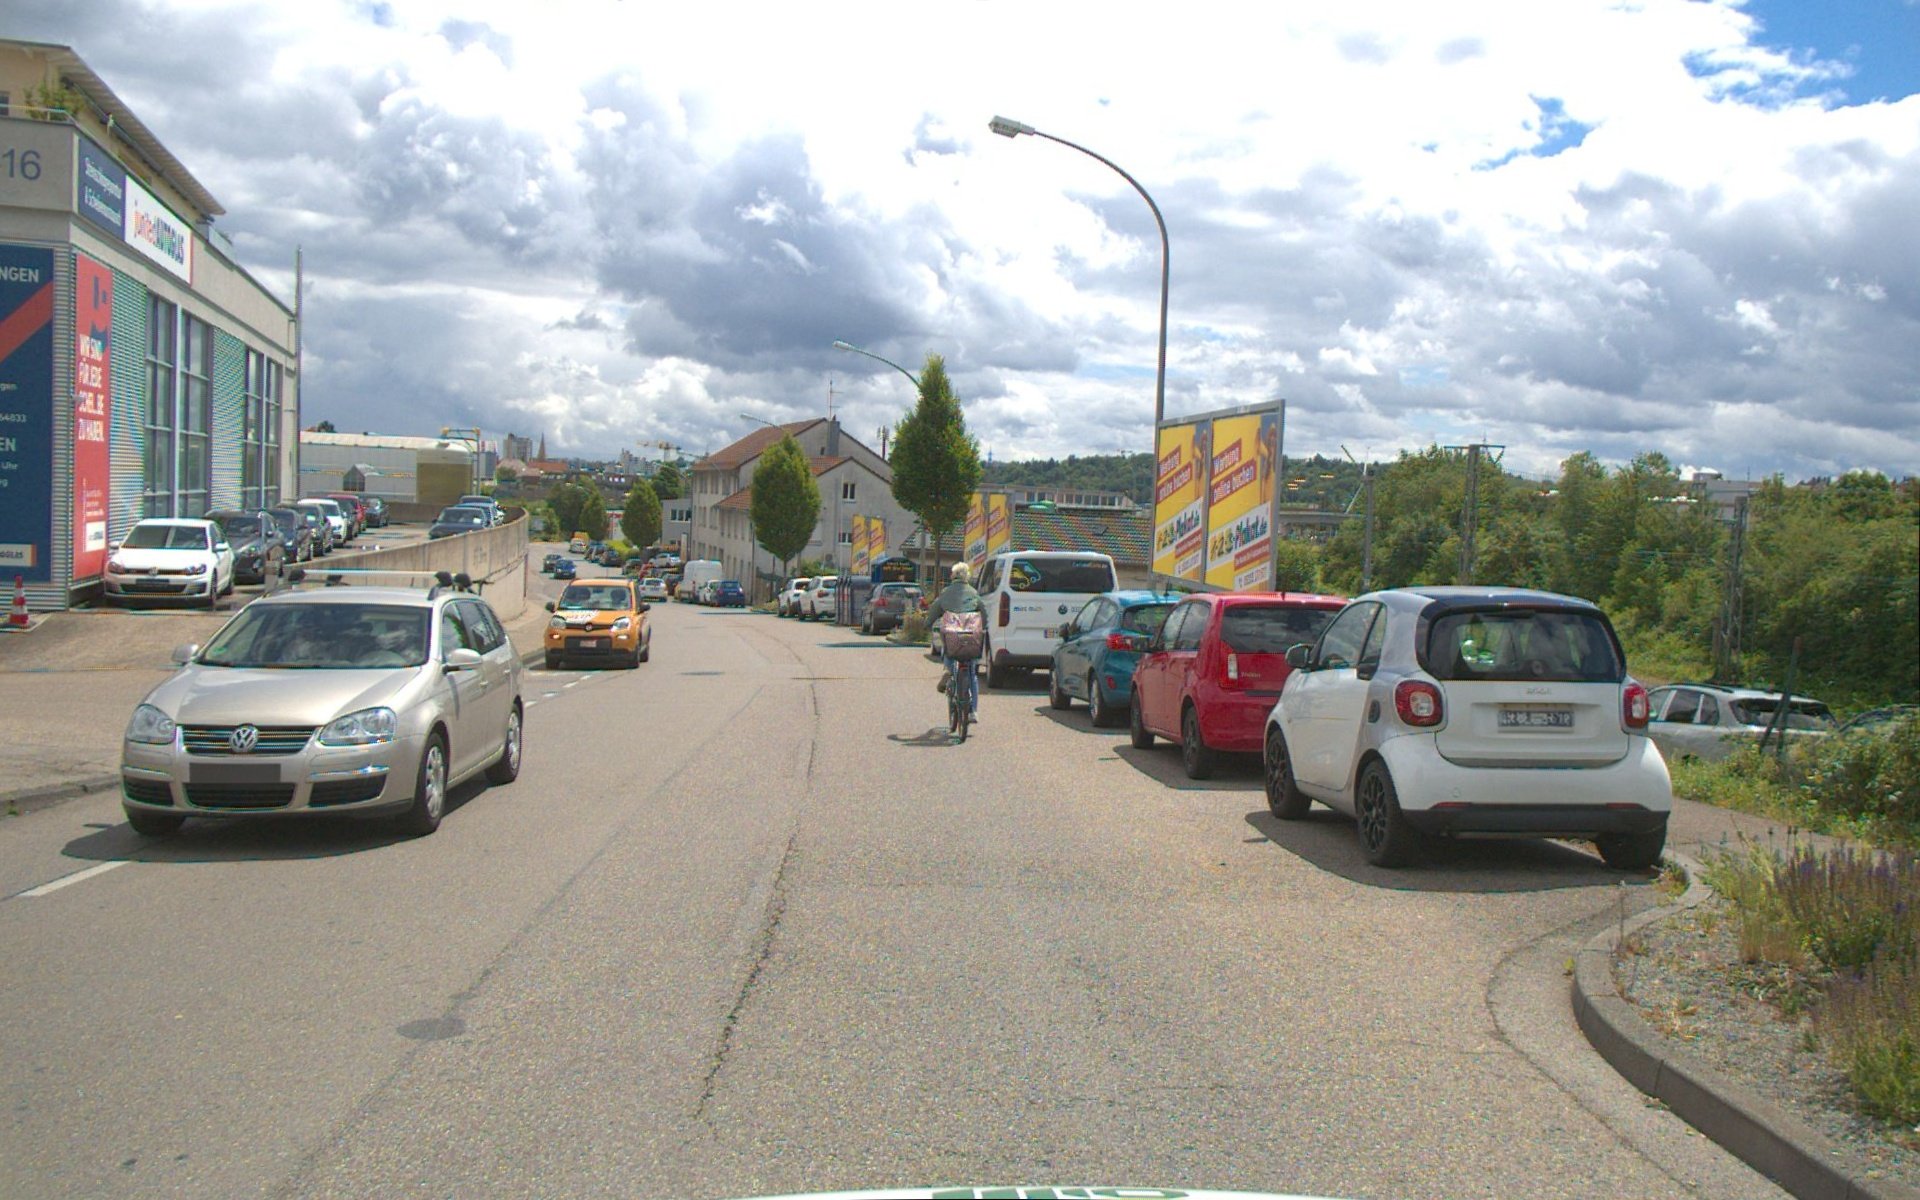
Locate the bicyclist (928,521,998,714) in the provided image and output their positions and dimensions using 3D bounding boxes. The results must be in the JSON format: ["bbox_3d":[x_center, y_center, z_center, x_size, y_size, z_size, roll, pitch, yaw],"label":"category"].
[{"bbox_3d":[0.024,0.166,16.445,0.670,1.857,1.080,0,0,-1],"label":"bicyclist"}]

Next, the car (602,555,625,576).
[{"bbox_3d":[-37.339,-3.718,178.012,1.962,2.048,3.981,4,0,-17],"label":"car"}]

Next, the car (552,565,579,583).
[{"bbox_3d":[-33.253,-2.187,139.482,1.958,1.445,3.989,0,1,-11],"label":"car"}]

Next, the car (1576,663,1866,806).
[{"bbox_3d":[10.111,1.723,22.380,1.757,1.532,4.439,0,1,-2],"label":"car"}]

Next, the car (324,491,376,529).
[{"bbox_3d":[-24.890,-3.649,67.575,1.642,1.346,3.703,0,1,-15],"label":"car"}]

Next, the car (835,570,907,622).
[{"bbox_3d":[-3.109,-0.149,57.087,2.095,1.735,3.991,0,1,-9],"label":"car"}]

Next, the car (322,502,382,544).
[{"bbox_3d":[-21.561,-2.699,58.763,1.642,1.346,3.703,0,1,-15],"label":"car"}]

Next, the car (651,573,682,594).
[{"bbox_3d":[-21.146,-1.170,119.120,1.959,1.489,3.987,0,1,-13],"label":"car"}]

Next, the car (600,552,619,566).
[{"bbox_3d":[-38.611,-4.500,182.290,1.960,1.445,3.985,0,1,-14],"label":"car"}]

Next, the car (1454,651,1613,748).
[{"bbox_3d":[10.512,1.791,30.552,1.587,1.532,3.577,0,1,-2],"label":"car"}]

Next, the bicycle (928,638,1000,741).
[{"bbox_3d":[0.021,0.865,16.539,0.673,0.893,2.101,0,1,-1],"label":"bicycle"}]

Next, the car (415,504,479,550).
[{"bbox_3d":[-16.428,-2.374,53.091,1.641,1.346,3.708,1,4,-13],"label":"car"}]

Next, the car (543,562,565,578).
[{"bbox_3d":[-37.642,-2.754,153.332,1.960,1.445,3.985,0,1,-14],"label":"car"}]

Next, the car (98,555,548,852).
[{"bbox_3d":[-3.966,0.540,11.084,1.669,1.589,4.323,1,0,-5],"label":"car"}]

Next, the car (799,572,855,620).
[{"bbox_3d":[-5.049,-0.166,62.429,1.780,1.735,3.991,0,1,-9],"label":"car"}]

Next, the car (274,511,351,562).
[{"bbox_3d":[-18.490,-1.784,47.361,1.642,1.346,3.703,0,1,-15],"label":"car"}]

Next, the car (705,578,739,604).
[{"bbox_3d":[-14.164,-0.551,98.274,1.956,1.489,3.992,0,1,-9],"label":"car"}]

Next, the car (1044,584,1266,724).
[{"bbox_3d":[2.143,0.544,19.137,1.866,1.467,3.540,0,1,-5],"label":"car"}]

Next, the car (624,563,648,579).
[{"bbox_3d":[-29.841,-2.700,152.336,1.960,1.445,3.985,0,1,-14],"label":"car"}]

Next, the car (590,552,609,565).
[{"bbox_3d":[-41.782,-4.781,191.692,1.960,1.445,3.985,0,1,-14],"label":"car"}]

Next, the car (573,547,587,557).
[{"bbox_3d":[-53.986,-6.816,234.903,1.960,1.445,3.985,0,1,-14],"label":"car"}]

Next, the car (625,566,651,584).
[{"bbox_3d":[-26.594,-2.065,136.600,1.959,1.489,3.987,0,1,-13],"label":"car"}]

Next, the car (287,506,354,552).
[{"bbox_3d":[-20.760,-2.278,53.805,1.642,1.346,3.703,0,1,-15],"label":"car"}]

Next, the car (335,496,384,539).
[{"bbox_3d":[-27.279,-3.716,75.238,1.674,1.759,3.503,4,0,-15],"label":"car"}]

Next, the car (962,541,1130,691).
[{"bbox_3d":[1.224,0.201,25.781,1.954,2.049,4.914,2,0,-4],"label":"car"}]

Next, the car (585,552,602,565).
[{"bbox_3d":[-45.127,-5.090,203.557,1.960,1.445,3.985,0,1,-14],"label":"car"}]

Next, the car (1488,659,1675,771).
[{"bbox_3d":[9.990,1.800,26.847,1.587,1.532,3.577,0,1,-2],"label":"car"}]

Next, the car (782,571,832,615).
[{"bbox_3d":[-6.323,-0.294,68.135,1.808,1.735,3.991,0,1,-9],"label":"car"}]

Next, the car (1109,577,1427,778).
[{"bbox_3d":[2.553,0.568,14.694,1.838,1.534,3.997,0,1,-4],"label":"car"}]

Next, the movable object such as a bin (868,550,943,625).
[{"bbox_3d":[-1.781,-0.409,53.000,2.095,2.343,2.552,0,0,-10],"label":"movable object such as a bin"}]

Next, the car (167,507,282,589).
[{"bbox_3d":[-15.625,-1.072,35.292,1.667,1.658,3.703,0,1,-15],"label":"car"}]

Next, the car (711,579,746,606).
[{"bbox_3d":[-13.177,-0.454,93.969,1.956,1.489,3.992,0,1,-9],"label":"car"}]

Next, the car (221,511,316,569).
[{"bbox_3d":[-17.250,-1.472,41.409,1.692,1.346,3.703,0,1,-15],"label":"car"}]

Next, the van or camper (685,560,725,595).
[{"bbox_3d":[-15.877,-1.419,102.969,1.960,2.048,3.985,4,0,-15],"label":"van or camper"}]

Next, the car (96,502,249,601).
[{"bbox_3d":[-14.369,-0.847,30.407,1.816,1.679,3.984,0,1,-15],"label":"car"}]

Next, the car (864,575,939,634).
[{"bbox_3d":[-1.754,0.100,48.389,1.955,1.646,3.996,0,1,-5],"label":"car"}]

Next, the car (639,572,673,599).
[{"bbox_3d":[-18.969,-0.926,103.054,1.959,1.646,3.987,0,1,-13],"label":"car"}]

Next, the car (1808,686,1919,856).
[{"bbox_3d":[10.204,1.731,16.261,1.653,1.532,3.877,0,1,-2],"label":"car"}]

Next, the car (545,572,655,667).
[{"bbox_3d":[-6.471,0.313,30.037,1.677,1.601,3.993,0,1,-8],"label":"car"}]

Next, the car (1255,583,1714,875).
[{"bbox_3d":[3.032,0.660,10.168,1.758,1.532,2.904,0,0,-4],"label":"car"}]
